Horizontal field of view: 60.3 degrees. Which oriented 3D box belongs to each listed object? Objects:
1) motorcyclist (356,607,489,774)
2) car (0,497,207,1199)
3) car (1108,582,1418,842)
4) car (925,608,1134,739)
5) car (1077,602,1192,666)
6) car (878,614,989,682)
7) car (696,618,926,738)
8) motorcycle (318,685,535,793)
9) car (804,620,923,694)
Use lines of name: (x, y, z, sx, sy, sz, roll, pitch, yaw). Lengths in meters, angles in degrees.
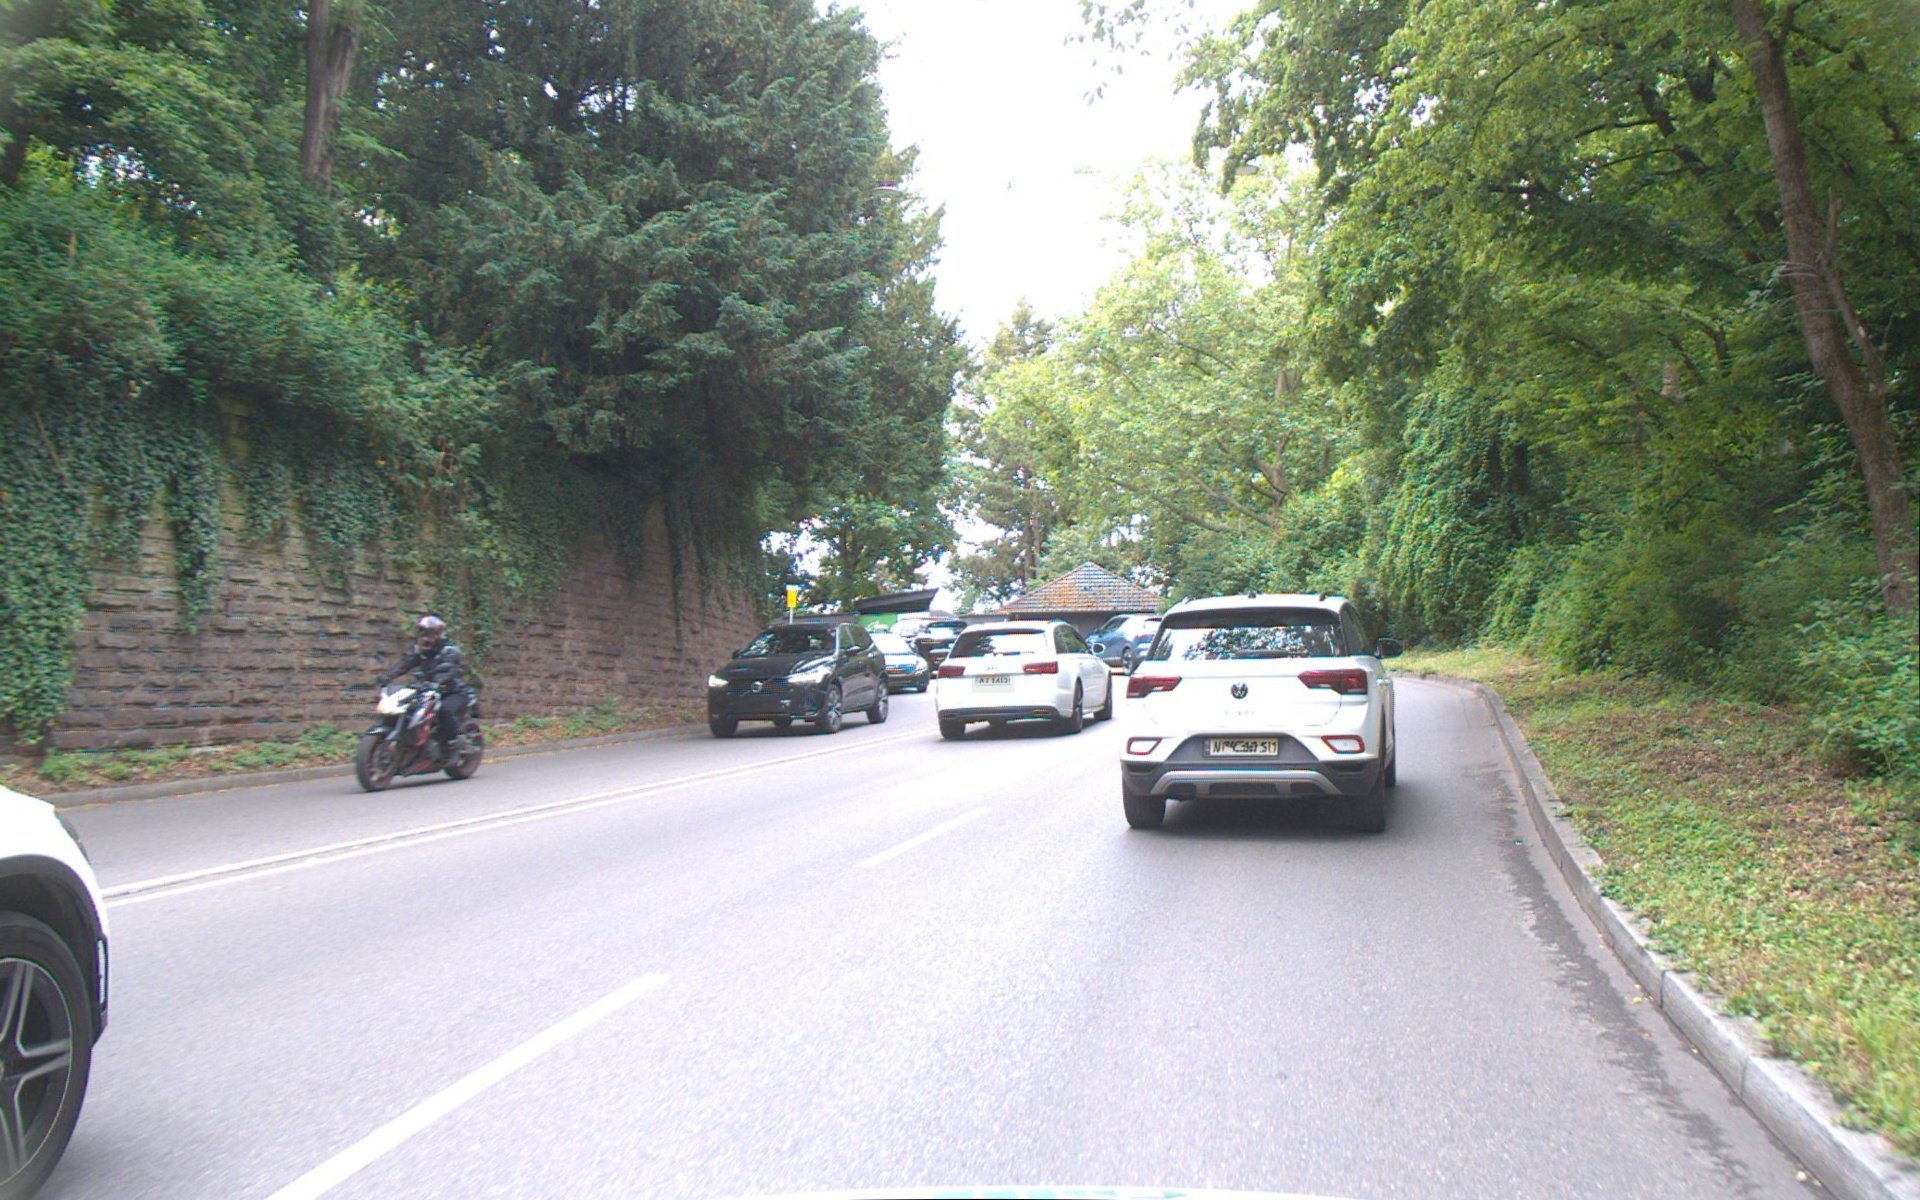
motorcyclist: (-5.217, 0.872, 16.111, 0.731, 1.556, 1.095, -2, -2, 16)
car: (-3.150, 0.533, 2.349, 1.820, 1.634, 4.671, 1, -2, 2)
car: (2.432, 0.696, 12.357, 1.717, 1.580, 4.339, -1, 0, 18)
car: (1.082, 0.945, 22.680, 1.825, 1.561, 4.780, -3, -1, 15)
car: (4.533, 0.928, 43.573, 1.642, 1.527, 4.006, -3, -1, -15)
car: (-0.819, 1.418, 47.876, 1.932, 1.794, 4.197, -2, -2, -20)
car: (-2.180, 1.150, 25.526, 1.811, 1.678, 4.512, -2, -1, 19)
motorcycle: (-5.170, 1.331, 16.243, 0.791, 0.905, 2.430, -2, -2, 16)
car: (-2.420, 1.399, 40.253, 1.833, 1.625, 4.608, -2, -2, -17)
